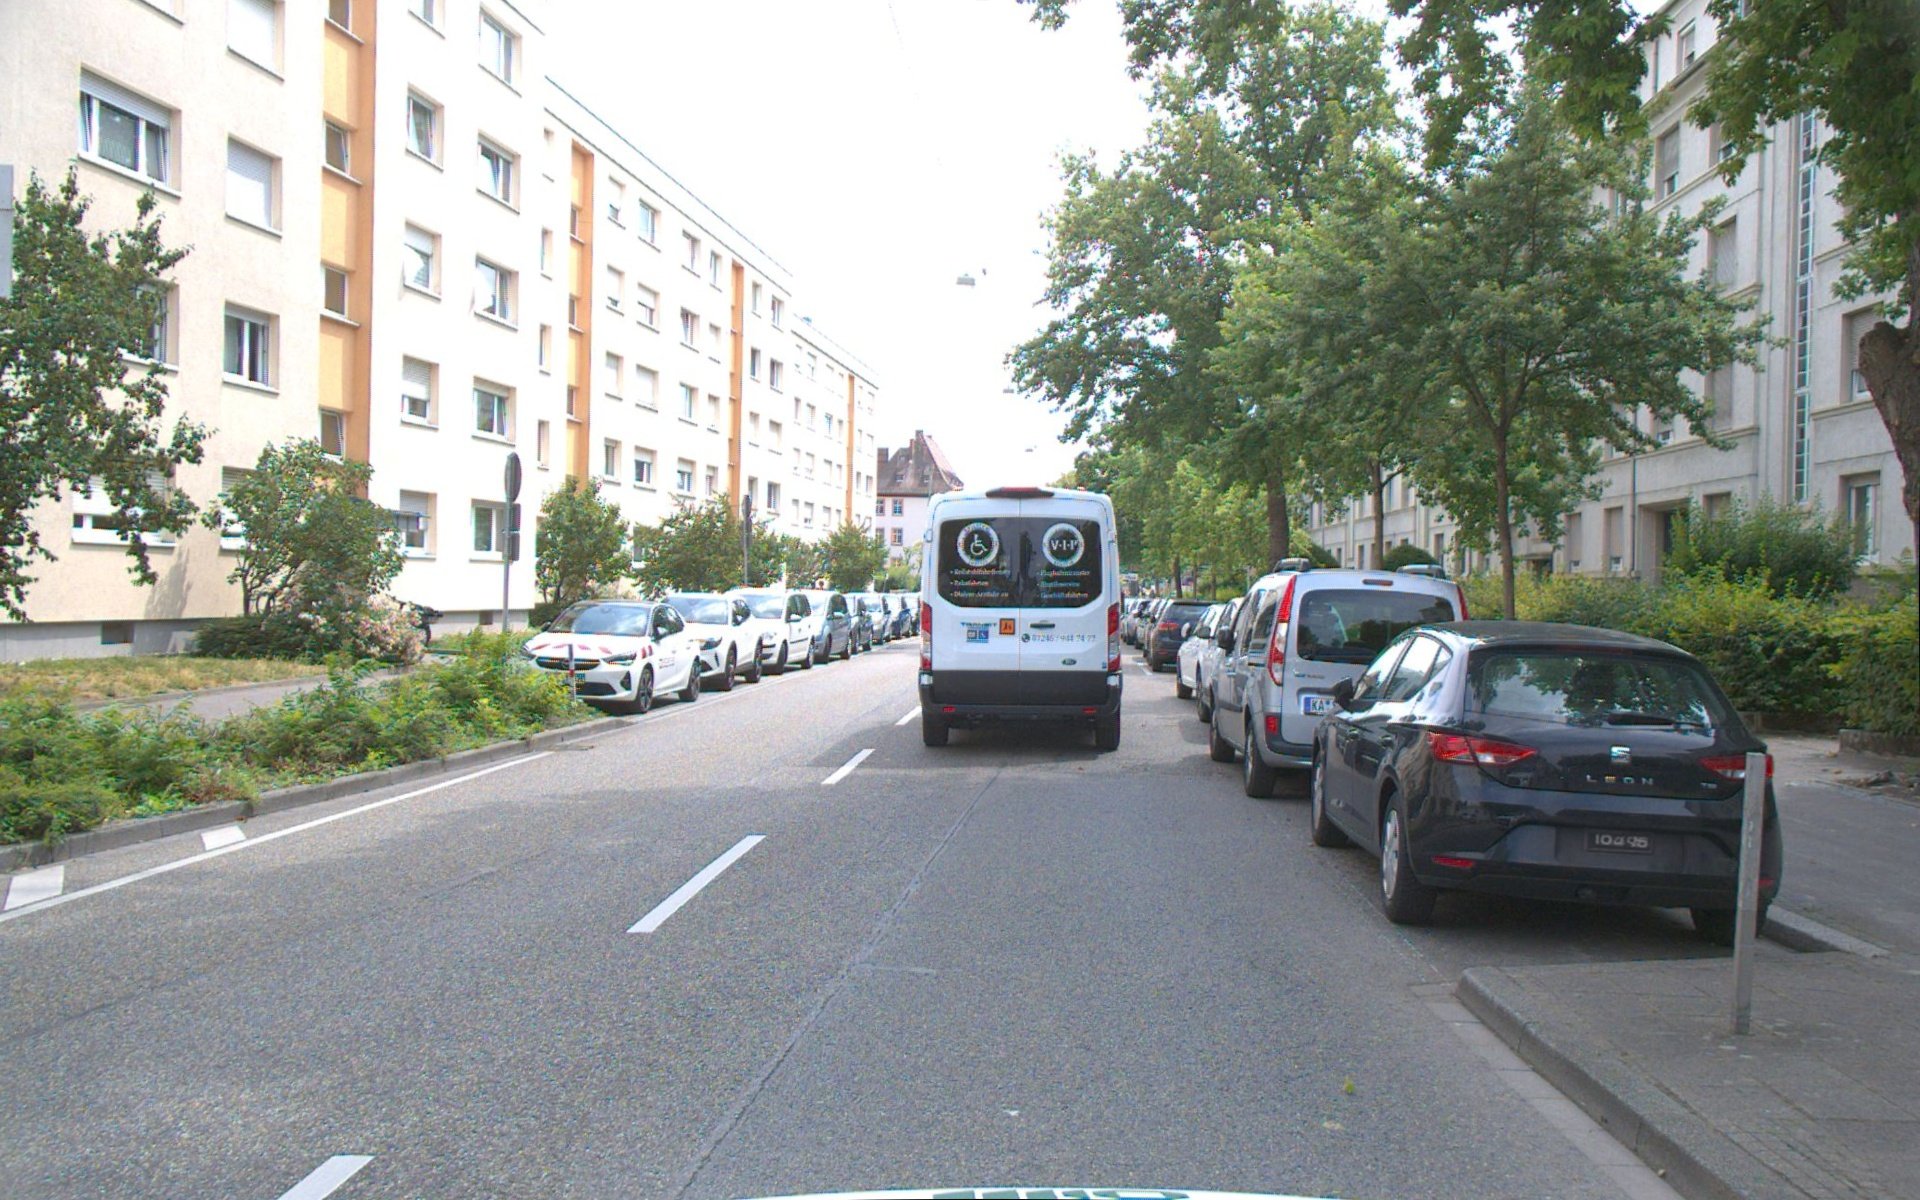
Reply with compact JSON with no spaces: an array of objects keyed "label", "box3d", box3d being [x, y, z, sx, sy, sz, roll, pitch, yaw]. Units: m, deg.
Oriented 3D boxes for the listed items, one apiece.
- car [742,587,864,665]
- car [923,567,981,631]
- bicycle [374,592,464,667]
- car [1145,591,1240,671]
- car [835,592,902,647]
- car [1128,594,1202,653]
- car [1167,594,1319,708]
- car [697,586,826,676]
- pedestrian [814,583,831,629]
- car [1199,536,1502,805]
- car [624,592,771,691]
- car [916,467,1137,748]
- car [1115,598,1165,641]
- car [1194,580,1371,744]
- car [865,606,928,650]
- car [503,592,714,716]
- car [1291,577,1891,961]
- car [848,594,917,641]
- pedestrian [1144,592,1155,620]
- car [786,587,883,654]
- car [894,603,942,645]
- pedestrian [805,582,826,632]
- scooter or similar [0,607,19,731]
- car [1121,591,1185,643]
[{"label":"car","box3d":[-3.631,0.574,39.147,1.901,1.641,4.864,2,0,6]},{"label":"car","box3d":[-0.367,-0.063,86.117,2.458,3.077,7.400,2,0,3]},{"label":"bicycle","box3d":[-9.644,0.500,29.542,0.566,1.273,1.935,1,1,14]},{"label":"car","box3d":[4.764,0.595,34.329,1.661,1.495,4.103,2,0,5]},{"label":"car","box3d":[-2.823,0.571,51.801,1.635,1.589,3.853,2,0,3]},{"label":"car","box3d":[5.760,0.626,46.828,1.662,1.495,4.755,2,0,3]},{"label":"car","box3d":[4.058,0.677,24.242,1.662,1.475,4.102,1,0,2]},{"label":"car","box3d":[-3.975,0.593,33.859,1.661,1.641,4.480,2,0,5]},{"label":"pedestrian","box3d":[-5.540,0.231,66.631,0.606,1.845,0.804,0,0,2]},{"label":"car","box3d":[3.212,0.511,14.581,1.877,1.898,4.849,2,0,5]},{"label":"car","box3d":[-4.401,0.652,28.288,1.673,1.498,3.990,2,0,2]},{"label":"car","box3d":[0.702,0.081,17.588,2.027,2.585,4.636,0,0,2]},{"label":"car","box3d":[6.829,0.708,62.534,1.742,1.495,4.618,2,0,7]},{"label":"car","box3d":[3.634,0.646,19.159,1.571,1.636,3.807,3,0,5]},{"label":"car","box3d":[-2.352,1.023,62.304,1.780,1.509,4.118,2,0,5]},{"label":"car","box3d":[-4.741,0.674,22.899,1.672,1.498,3.992,2,0,6]},{"label":"car","box3d":[2.978,0.677,8.845,1.877,1.469,4.241,2,0,5]},{"label":"car","box3d":[-2.636,0.582,56.945,1.779,1.509,3.887,2,0,6]},{"label":"pedestrian","box3d":[12.731,0.410,110.938,0.518,1.860,0.517,0,0,-38]},{"label":"car","box3d":[-3.306,0.528,44.533,1.901,1.641,4.304,2,0,5]},{"label":"car","box3d":[-1.714,0.964,68.293,1.687,1.566,4.006,1,1,3]},{"label":"pedestrian","box3d":[-5.365,0.261,61.541,0.607,1.844,0.899,2,0,2]},{"label":"scooter or similar","box3d":[-9.730,0.674,15.859,0.393,1.214,1.291,2,0,15]},{"label":"car","box3d":[6.094,0.507,52.621,1.662,1.495,4.720,2,0,3]}]
